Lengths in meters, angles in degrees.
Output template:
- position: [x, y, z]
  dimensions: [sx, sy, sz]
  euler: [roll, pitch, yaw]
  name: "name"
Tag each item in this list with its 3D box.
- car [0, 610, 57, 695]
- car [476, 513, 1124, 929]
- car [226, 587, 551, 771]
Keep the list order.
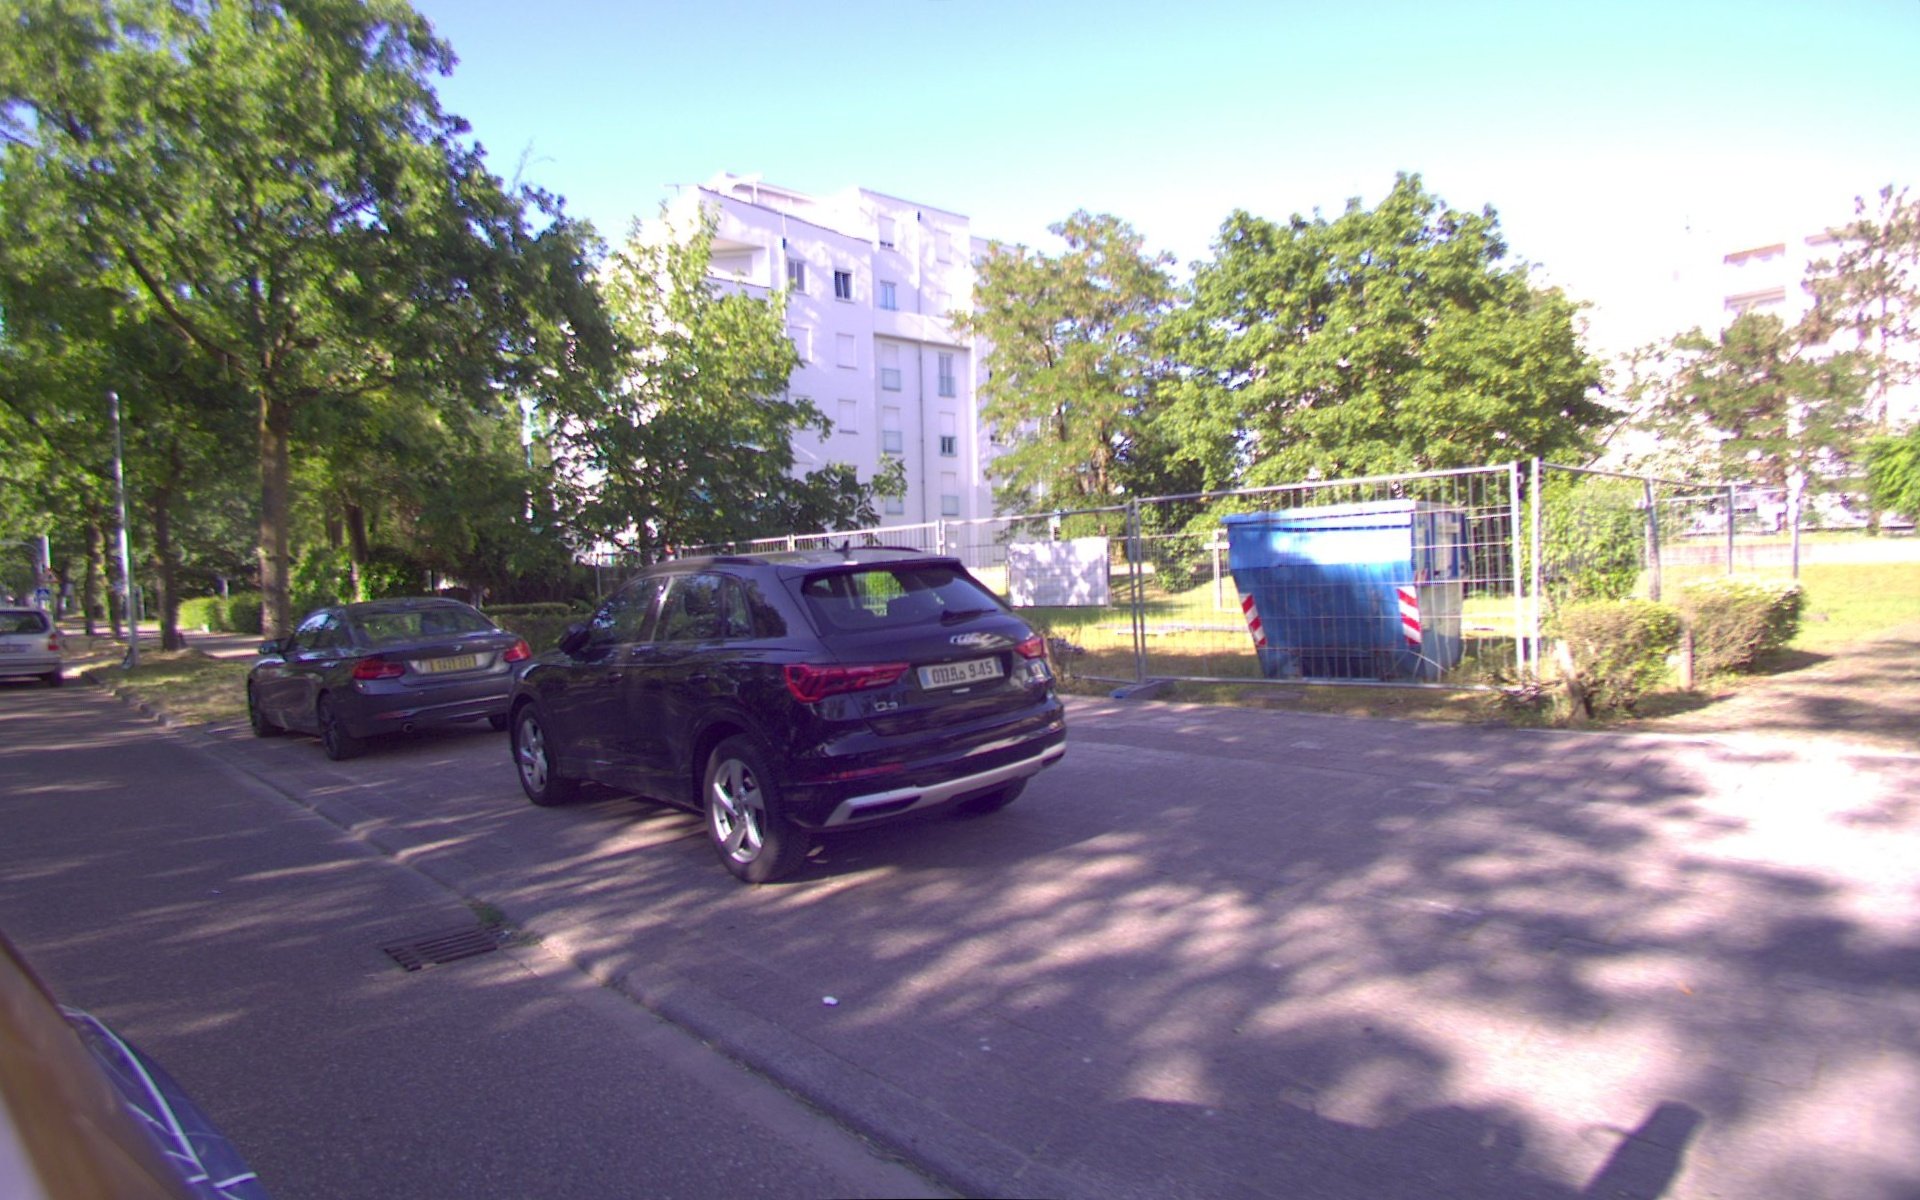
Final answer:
- position: [-19.721, 1.031, 20.689]
  dimensions: [4.010, 1.608, 1.640]
  euler: [-1, 0, 45]
  name: "car"
- position: [-1.267, 0.458, 6.159]
  dimensions: [1.755, 1.633, 4.225]
  euler: [-5, 3, -43]
  name: "car"
- position: [-6.063, 0.697, 10.520]
  dimensions: [4.137, 1.443, 1.698]
  euler: [-1, 3, 43]
  name: "car"
